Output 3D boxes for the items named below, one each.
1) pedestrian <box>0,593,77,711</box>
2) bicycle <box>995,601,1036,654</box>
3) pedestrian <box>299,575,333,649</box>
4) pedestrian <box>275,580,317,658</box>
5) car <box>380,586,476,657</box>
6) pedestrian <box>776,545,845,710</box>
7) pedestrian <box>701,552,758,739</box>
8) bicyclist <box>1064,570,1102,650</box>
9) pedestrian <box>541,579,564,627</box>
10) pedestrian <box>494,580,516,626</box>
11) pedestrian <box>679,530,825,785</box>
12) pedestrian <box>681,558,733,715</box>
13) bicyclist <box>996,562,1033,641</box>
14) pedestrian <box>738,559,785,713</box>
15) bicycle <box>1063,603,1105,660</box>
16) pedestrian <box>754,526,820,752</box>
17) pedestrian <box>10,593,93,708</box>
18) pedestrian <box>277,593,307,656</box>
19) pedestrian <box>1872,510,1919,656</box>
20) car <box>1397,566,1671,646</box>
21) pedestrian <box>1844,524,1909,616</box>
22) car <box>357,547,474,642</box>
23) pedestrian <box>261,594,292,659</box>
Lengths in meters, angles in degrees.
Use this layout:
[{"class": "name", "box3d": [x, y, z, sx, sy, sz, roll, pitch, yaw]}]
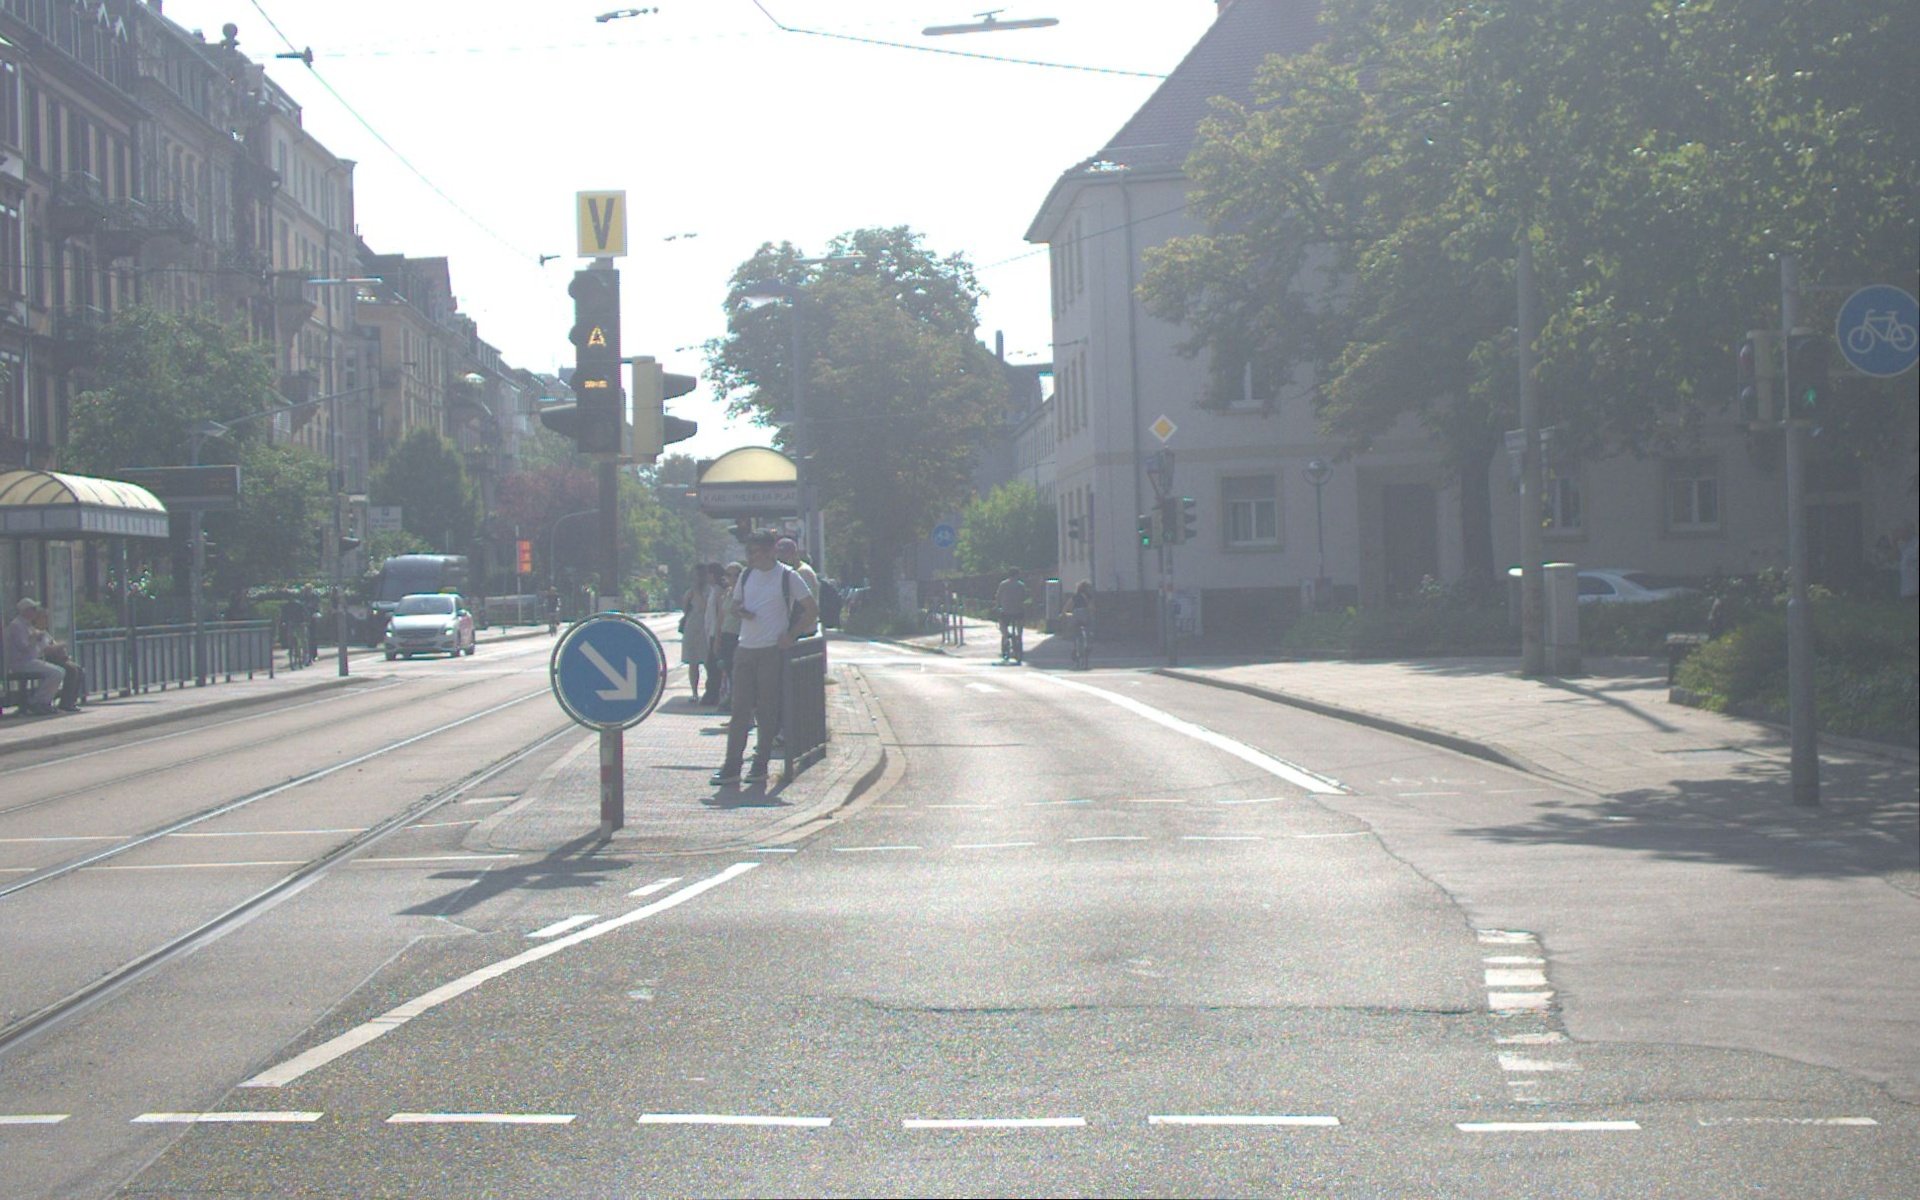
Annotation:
[{"class": "pedestrian", "box3d": [-10.915, 0.606, 40.573, 0.827, 1.354, 0.776, -2, 0, -6]}, {"class": "bicycle", "box3d": [1.062, 0.526, 66.430, 0.629, 0.974, 1.770, -2, 0, -3]}, {"class": "pedestrian", "box3d": [-15.263, 0.282, 81.531, 0.750, 1.725, 0.772, -2, 0, -10]}, {"class": "pedestrian", "box3d": [-14.954, 0.431, 77.459, 0.750, 1.725, 0.771, -2, 0, 1]}, {"class": "car", "box3d": [-12.951, 0.500, 83.857, 1.801, 1.648, 3.642, -2, 0, -1]}, {"class": "pedestrian", "box3d": [-1.621, 0.291, 37.279, 0.709, 1.753, 0.534, 1, 3, -1]}, {"class": "pedestrian", "box3d": [-2.217, 0.431, 33.071, 0.504, 1.753, 0.534, 1, 3, -1]}, {"class": "bicyclist", "box3d": [2.205, 0.170, 61.709, 0.558, 1.412, 0.872, -2, 0, -3]}, {"class": "pedestrian", "box3d": [-15.074, 0.109, 127.209, 0.750, 1.725, 0.772, -2, 0, -10]}, {"class": "pedestrian", "box3d": [-17.138, 0.118, 129.422, 0.750, 1.725, 0.772, -2, 0, -10]}, {"class": "pedestrian", "box3d": [-1.458, 0.386, 24.113, 0.701, 1.719, 0.747, 3, 3, 31]}, {"class": "pedestrian", "box3d": [-2.895, 0.415, 39.296, 0.532, 1.753, 0.545, 1, 3, 0]}, {"class": "bicyclist", "box3d": [1.054, 0.030, 66.425, 0.629, 1.502, 0.678, -2, 0, -3]}, {"class": "pedestrian", "box3d": [-2.300, 0.413, 39.887, 0.504, 1.753, 0.534, 1, 3, -1]}, {"class": "bicycle", "box3d": [2.223, 0.550, 61.697, 0.558, 0.974, 1.856, -2, 0, -3]}, {"class": "pedestrian", "box3d": [-1.423, 0.318, 28.380, 0.504, 1.827, 0.534, 1, 3, -1]}, {"class": "pedestrian", "box3d": [-10.969, 0.603, 41.549, 0.827, 1.354, 0.776, -2, 0, -6]}, {"class": "pedestrian", "box3d": [-18.530, 0.676, 95.354, 0.750, 1.725, 0.772, -2, 0, -10]}, {"class": "pedestrian", "box3d": [11.535, -0.212, 41.563, 0.892, 1.734, 0.775, -1, 0, 18]}, {"class": "car", "box3d": [10.158, 0.113, 60.932, 4.331, 1.316, 1.996, -1, 0, 37]}, {"class": "pedestrian", "box3d": [17.615, -0.570, 66.065, 0.774, 1.734, 0.893, -2, 0, -44]}, {"class": "car", "box3d": [-15.791, -0.172, 99.910, 2.347, 2.653, 5.104, -2, 0, 2]}, {"class": "pedestrian", "box3d": [-18.392, 0.705, 92.538, 0.750, 1.725, 0.772, -2, 0, -10]}]
